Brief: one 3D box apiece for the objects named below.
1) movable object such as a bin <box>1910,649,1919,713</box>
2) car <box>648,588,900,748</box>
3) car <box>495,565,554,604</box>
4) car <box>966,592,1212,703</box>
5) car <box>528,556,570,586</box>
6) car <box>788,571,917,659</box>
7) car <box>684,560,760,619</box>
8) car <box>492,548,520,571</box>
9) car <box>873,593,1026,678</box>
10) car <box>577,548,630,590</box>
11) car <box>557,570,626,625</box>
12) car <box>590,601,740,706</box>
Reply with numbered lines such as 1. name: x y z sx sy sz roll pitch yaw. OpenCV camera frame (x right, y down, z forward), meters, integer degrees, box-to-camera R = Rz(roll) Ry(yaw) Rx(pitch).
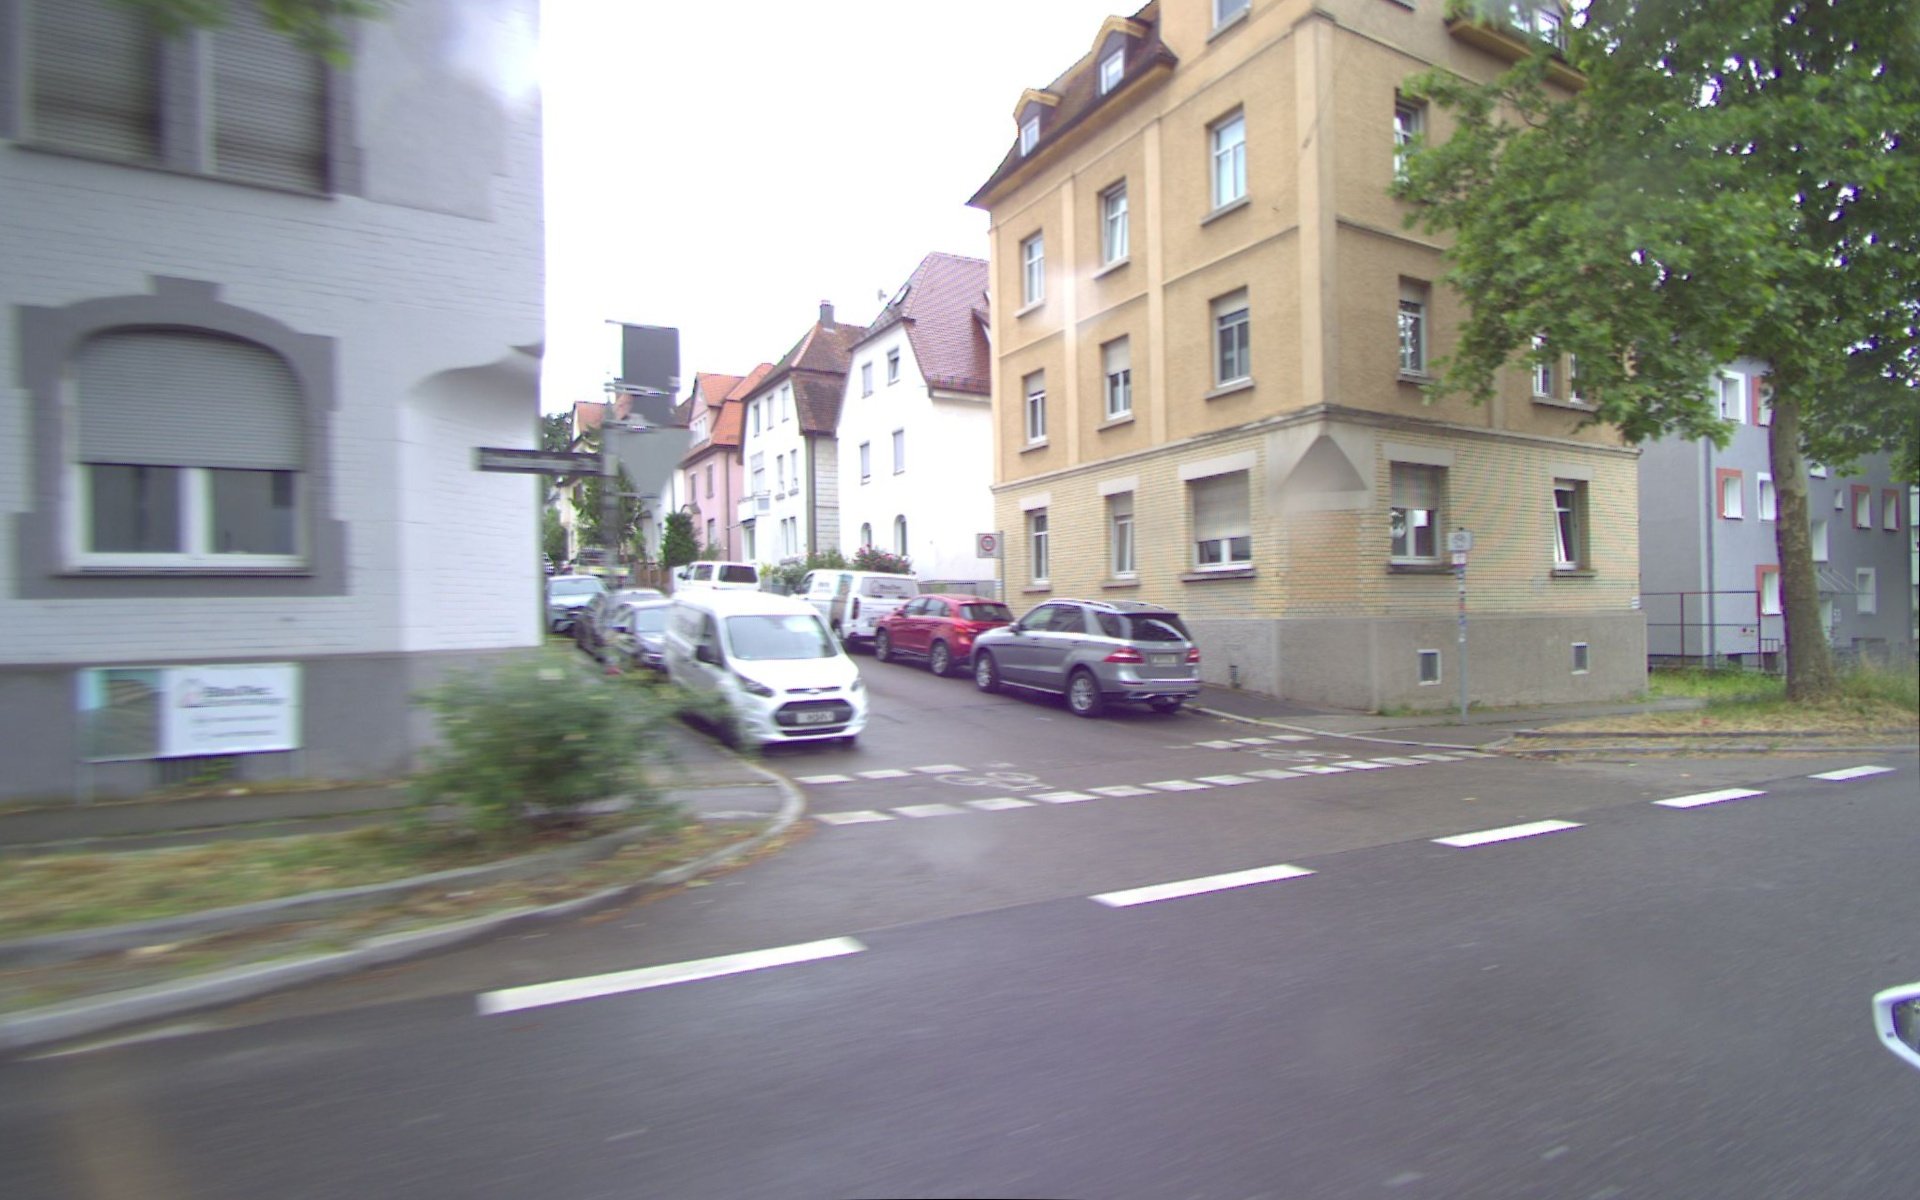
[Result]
1. movable object such as a bin: 16.490 1.358 16.893 0.753 1.071 0.532 2 -3 -30
2. car: -2.762 0.764 13.886 1.997 1.802 4.648 1 0 -30
3. car: -17.188 -0.634 39.575 1.710 1.371 3.199 2 2 -31
4. car: 2.058 0.723 17.153 2.021 1.633 4.092 2 0 -32
5. car: -32.691 -2.344 79.848 2.358 2.041 4.246 2 3 -33
6. car: -2.863 0.337 25.876 1.784 1.959 4.011 2 2 -30
7. car: -8.574 -0.412 36.017 1.700 1.947 3.563 2 2 -29
8. car: -44.232 -3.913 97.753 1.842 2.040 4.247 2 0 -33
9. car: -0.316 0.699 21.673 1.622 1.538 3.804 1 1 -30
10. car: -20.057 -1.765 56.408 2.082 2.041 4.253 2 3 -28
11. car: -10.702 -0.095 29.080 1.324 1.471 3.237 2 0 -30
12. car: -5.529 0.889 18.499 1.772 1.507 3.968 1 2 -29
